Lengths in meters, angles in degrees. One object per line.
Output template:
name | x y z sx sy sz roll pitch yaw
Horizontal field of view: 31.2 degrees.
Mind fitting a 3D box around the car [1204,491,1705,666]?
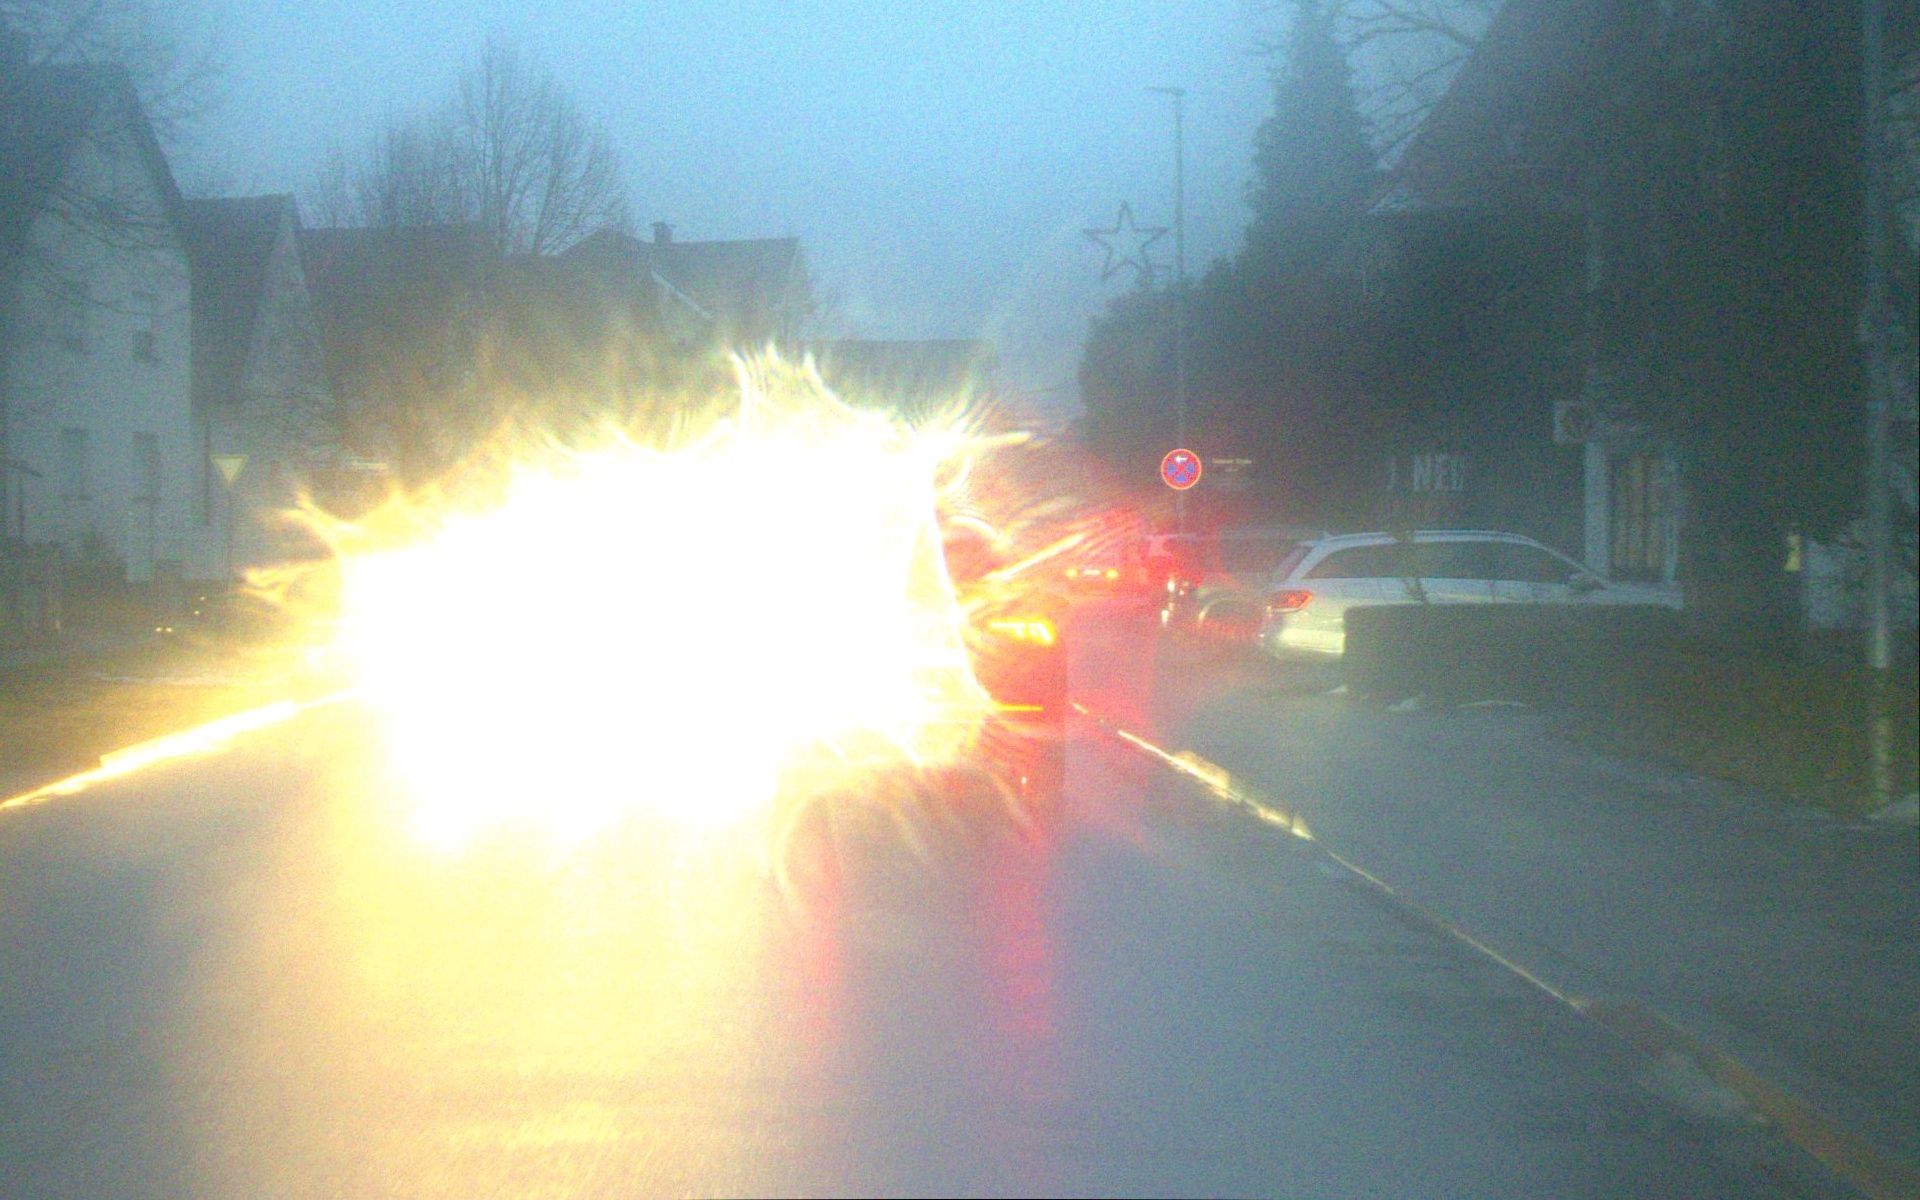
car | 4.778 -0.223 33.779 4.734 1.624 1.907 0 1 4

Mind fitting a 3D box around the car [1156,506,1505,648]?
car | 4.588 -0.283 42.986 4.101 1.700 2.000 0 0 -1

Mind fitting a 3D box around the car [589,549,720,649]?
car | -4.685 -0.042 53.169 1.704 1.436 4.425 -2 1 -1

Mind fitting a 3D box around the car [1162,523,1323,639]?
car | 4.002 -0.303 49.346 1.893 1.549 4.756 -1 1 0

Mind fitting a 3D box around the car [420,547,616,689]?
car | -4.804 0.161 37.816 1.704 1.436 4.000 -2 1 -1

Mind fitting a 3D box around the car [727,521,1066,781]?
car | -0.434 0.271 22.421 1.993 1.520 4.000 1 1 -2

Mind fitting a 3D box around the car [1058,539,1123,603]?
car | 4.266 -0.968 111.826 1.994 2.007 4.000 -1 1 4

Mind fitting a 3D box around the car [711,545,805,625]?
car | -4.313 -0.341 73.992 1.814 1.627 4.225 -1 1 -1
